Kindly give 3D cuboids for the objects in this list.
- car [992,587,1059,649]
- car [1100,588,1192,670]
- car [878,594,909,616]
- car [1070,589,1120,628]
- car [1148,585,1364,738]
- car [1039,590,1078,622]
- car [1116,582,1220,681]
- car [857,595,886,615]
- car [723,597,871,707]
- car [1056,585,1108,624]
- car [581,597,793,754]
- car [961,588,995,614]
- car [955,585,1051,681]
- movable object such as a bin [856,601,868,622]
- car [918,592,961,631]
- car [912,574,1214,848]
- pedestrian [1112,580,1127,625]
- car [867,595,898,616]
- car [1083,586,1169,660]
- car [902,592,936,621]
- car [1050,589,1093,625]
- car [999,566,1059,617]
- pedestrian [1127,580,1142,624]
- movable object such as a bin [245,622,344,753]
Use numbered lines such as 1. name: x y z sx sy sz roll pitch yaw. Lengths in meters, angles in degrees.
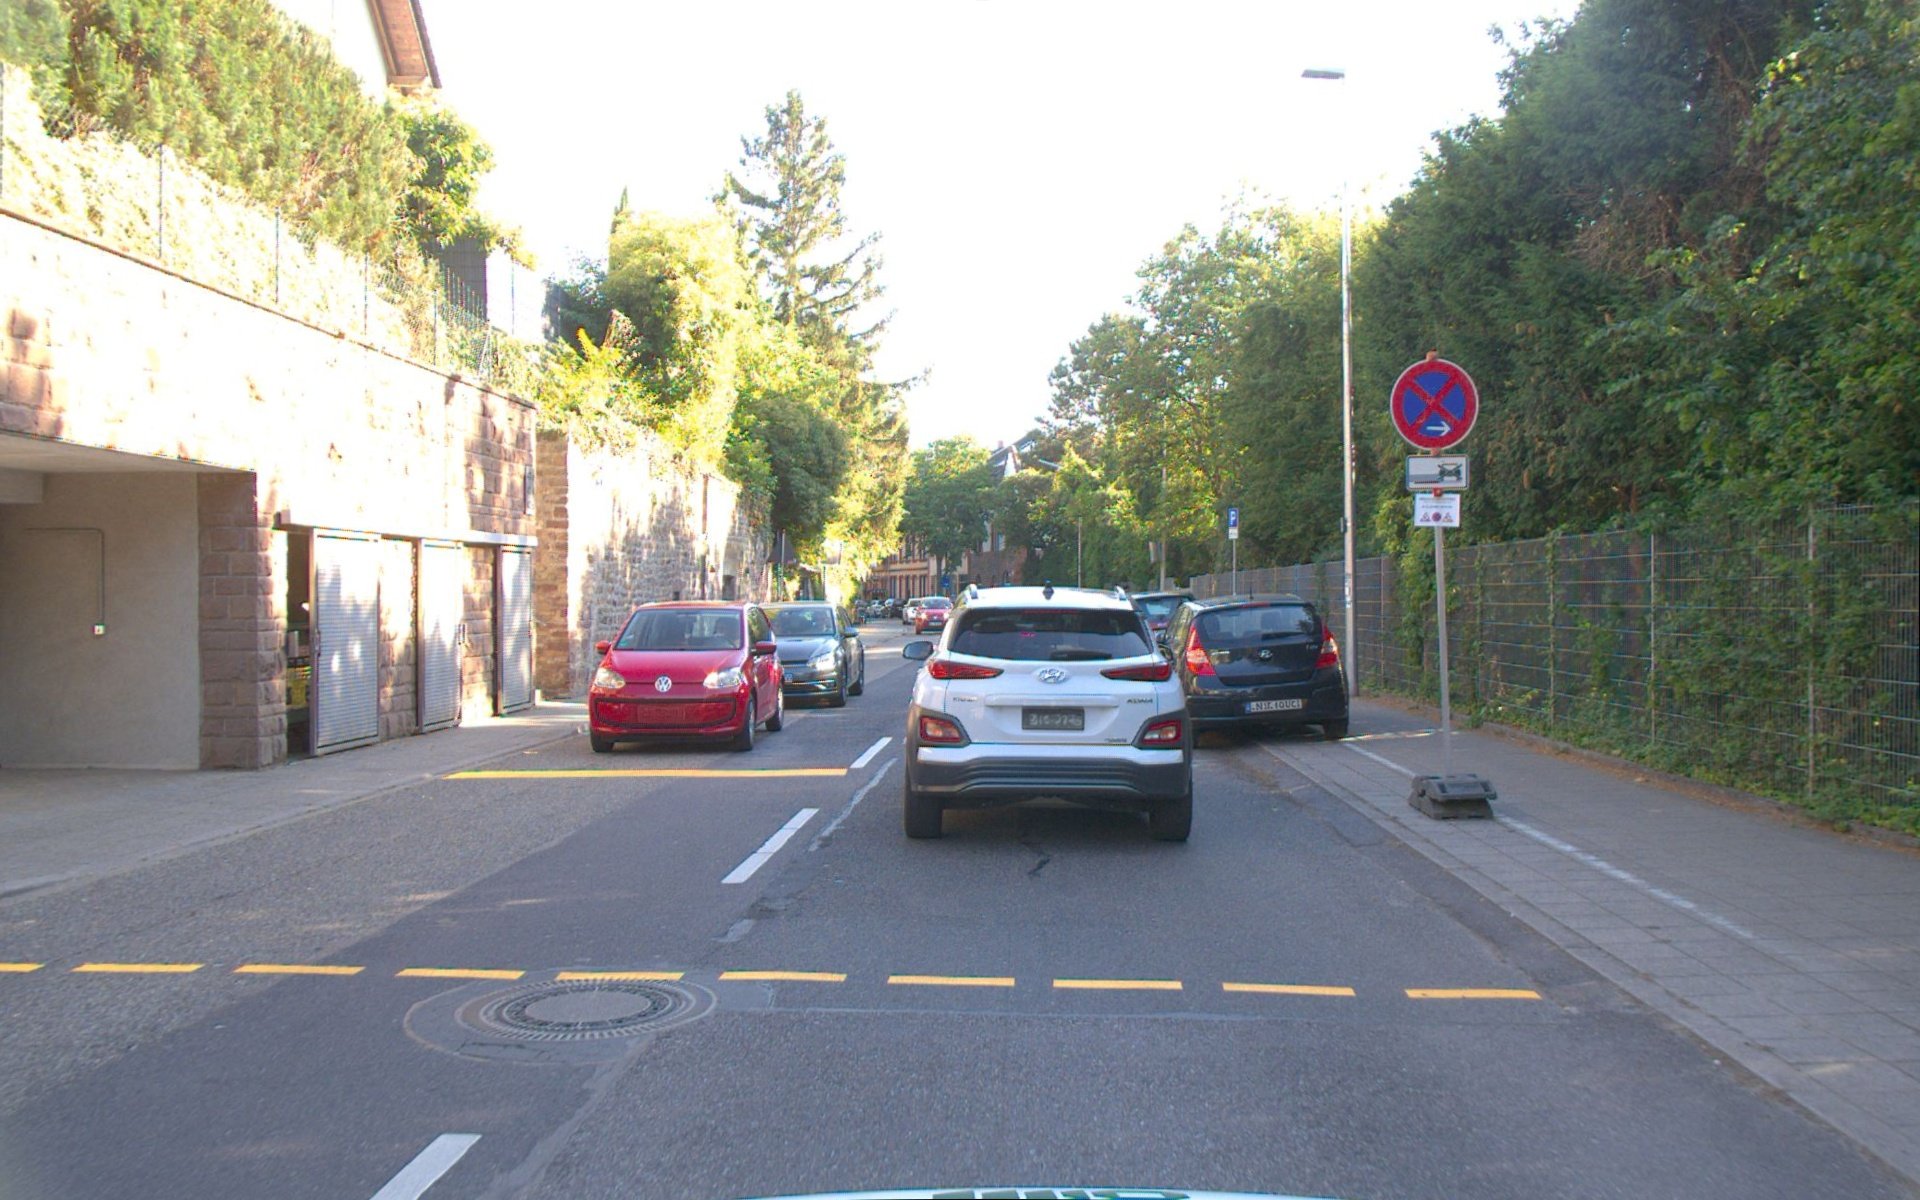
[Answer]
1. car: 1.702 0.432 42.215 1.537 1.503 3.550 1 0 5
2. car: 3.758 0.549 34.001 1.674 1.524 4.816 2 0 4
3. car: -5.392 0.413 133.409 1.726 1.645 3.985 1 1 -15
4. car: 5.428 0.317 66.930 1.652 1.456 4.000 -2 0 0
5. car: 3.086 0.585 18.004 1.757 1.466 4.001 -1 0 2
6. car: 4.913 0.280 82.978 1.561 1.515 3.601 -3 0 -2
7. car: 3.484 0.503 28.060 1.618 1.591 2.874 0 0 4
8. car: -7.712 0.429 143.389 1.726 1.645 3.985 1 1 -15
9. car: -2.280 0.687 24.027 1.615 1.435 3.931 -1 0 2
10. car: 5.305 0.205 72.219 1.563 1.592 3.995 -2 0 -6
11. car: -2.762 0.711 17.433 1.593 1.446 3.563 -1 0 0
12. car: 0.966 0.042 92.443 1.559 1.410 3.357 -1 0 -5
13. car: 0.797 0.534 29.050 1.480 1.560 3.550 -1 1 5
14. movable object such as a bin: -5.013 0.584 84.919 0.485 1.029 1.113 1 -1 2
15. car: -0.818 0.449 67.778 1.518 1.492 3.570 -2 0 3
16. car: 0.578 0.638 11.547 1.736 1.569 3.999 0 0 -1
17. pedestrian: 5.974 0.091 61.990 0.492 1.634 0.491 -3 0 3
18. car: -6.491 0.420 138.099 1.726 1.645 3.985 1 1 -15
19. car: 3.790 0.495 38.136 1.592 1.536 2.903 -3 1 -1
20. car: -2.321 0.382 92.788 1.706 1.500 3.998 -4 0 -3
21. car: 5.177 0.322 77.223 1.561 1.545 3.931 -3 0 -2
22. car: 2.431 -0.338 57.313 1.658 1.559 3.885 -4 1 7
23. pedestrian: 6.539 0.077 61.994 0.492 1.596 0.504 -3 0 3
24. movable object such as a bin: -6.320 0.822 15.731 0.644 1.196 0.666 -1 0 3
